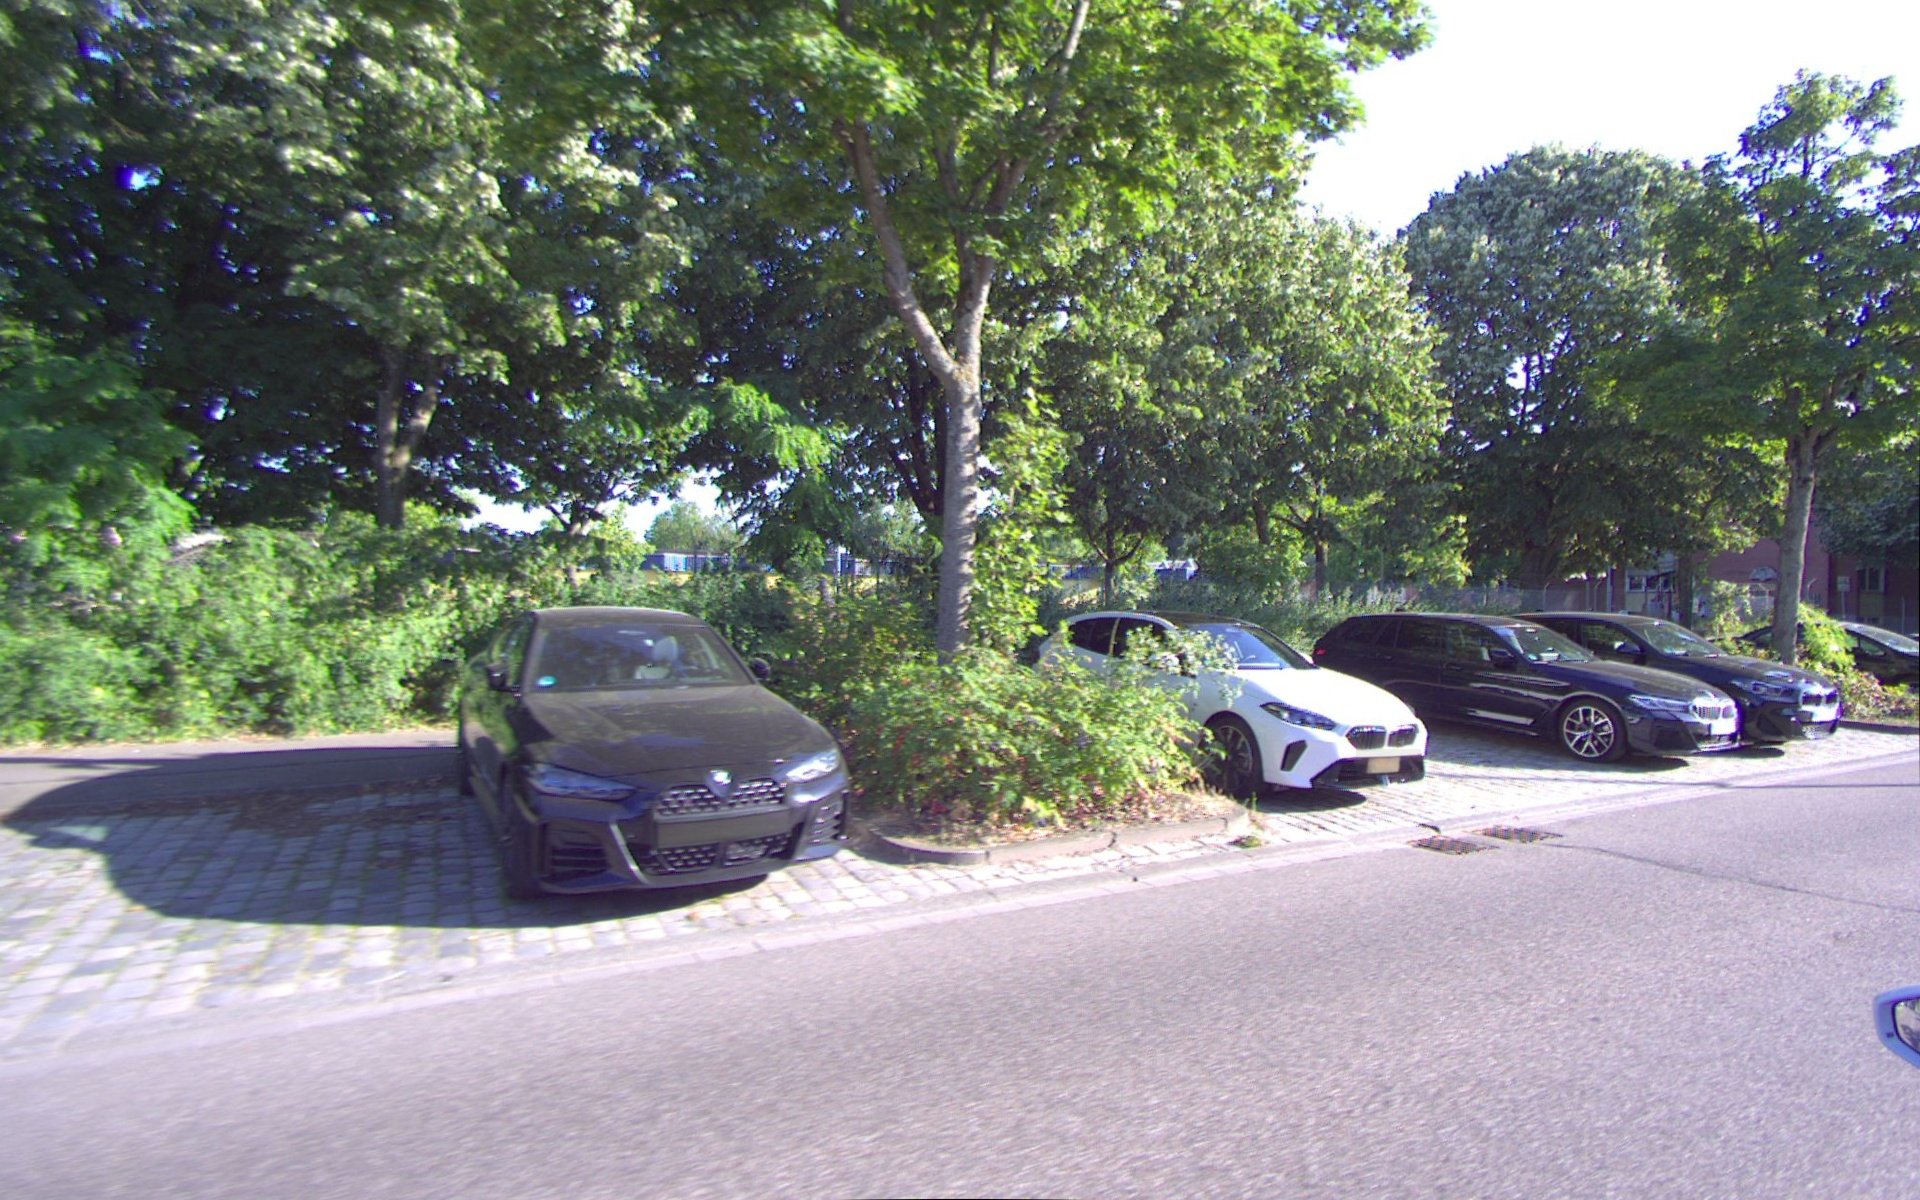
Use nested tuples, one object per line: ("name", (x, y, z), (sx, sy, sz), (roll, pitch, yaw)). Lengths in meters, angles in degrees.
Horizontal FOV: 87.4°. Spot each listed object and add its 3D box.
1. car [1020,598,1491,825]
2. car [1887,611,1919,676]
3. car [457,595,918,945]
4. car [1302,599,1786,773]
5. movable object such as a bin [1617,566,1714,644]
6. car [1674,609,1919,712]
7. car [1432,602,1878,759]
("car", (2.548, 0.837, 9.811), (1.975, 1.551, 4.268), (1, 2, -28))
("car", (23.898, 1.095, 21.906), (1.976, 1.482, 5.012), (1, 2, -29))
("car", (-2.240, 0.764, 6.992), (1.895, 1.441, 4.624), (1, 2, -31))
("car", (6.885, 0.859, 12.481), (1.977, 1.551, 4.823), (1, 2, -31))
("movable object such as a bin", (26.208, 0.183, 37.516), (2.124, 2.700, 4.800), (1, 0, 25))
("car", (15.436, 0.993, 17.482), (1.976, 1.482, 4.459), (1, 2, -29))
("car", (8.945, 0.896, 13.405), (1.976, 1.551, 4.459), (1, 2, -29))
